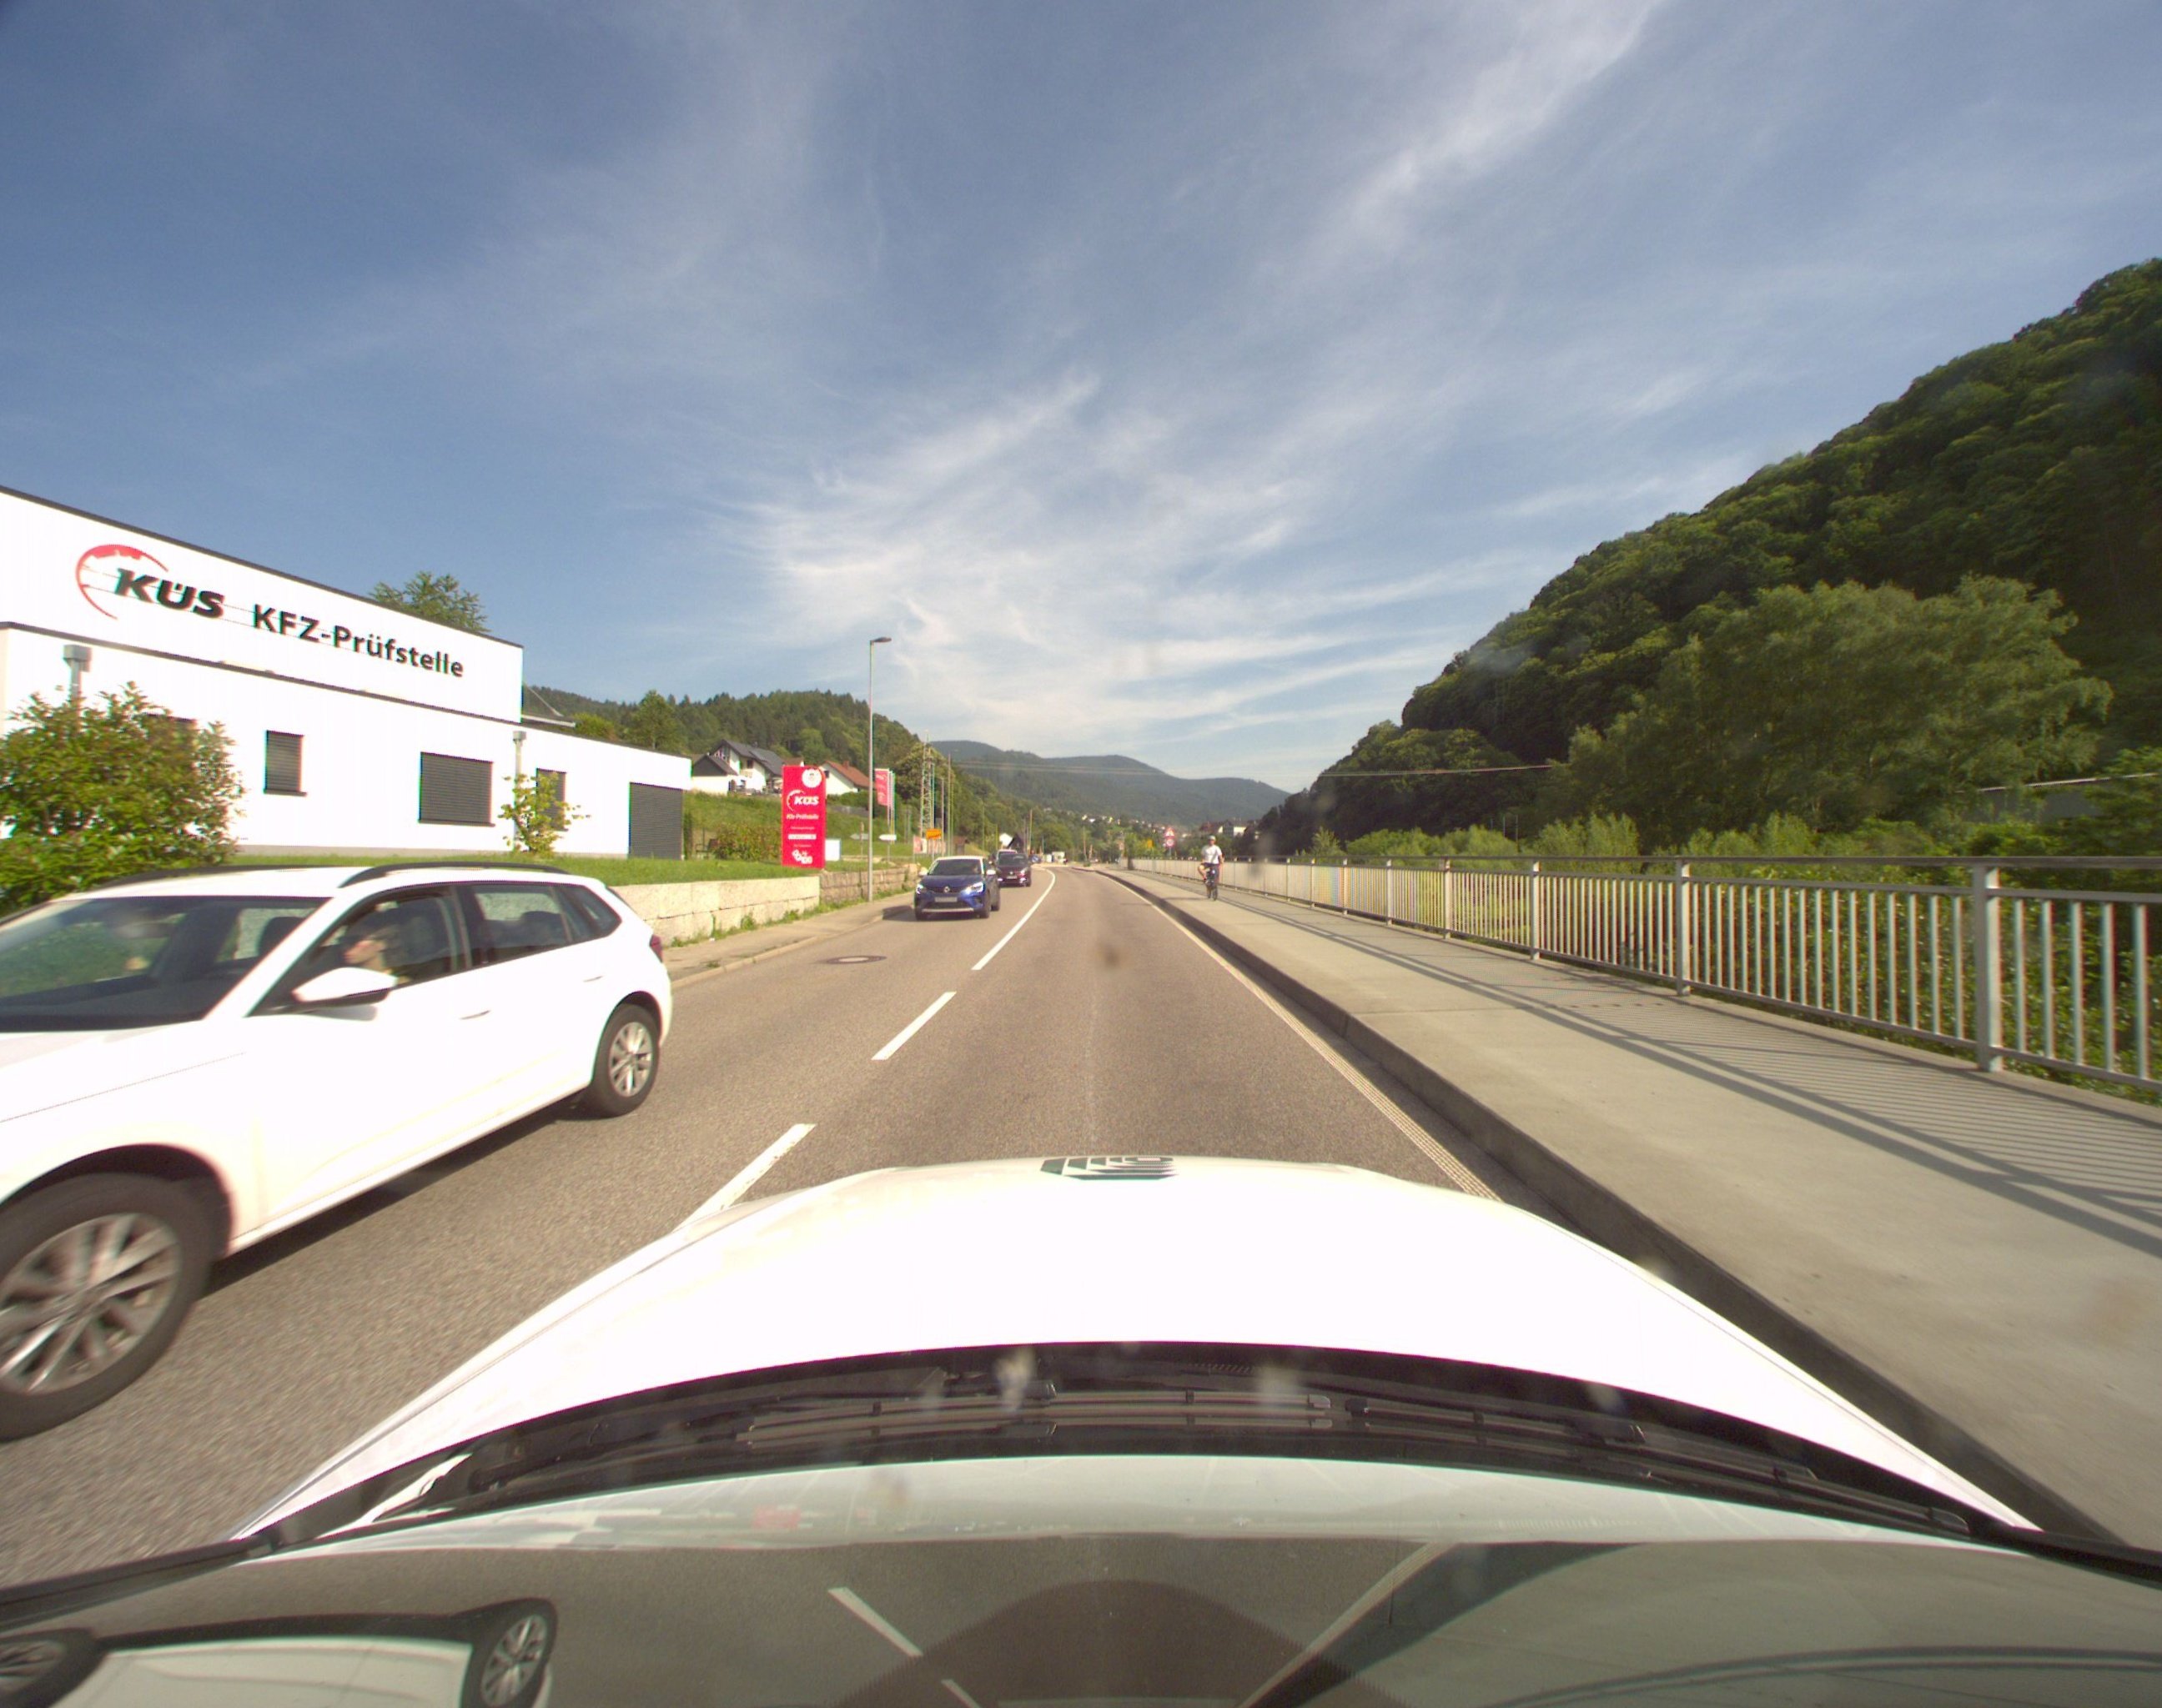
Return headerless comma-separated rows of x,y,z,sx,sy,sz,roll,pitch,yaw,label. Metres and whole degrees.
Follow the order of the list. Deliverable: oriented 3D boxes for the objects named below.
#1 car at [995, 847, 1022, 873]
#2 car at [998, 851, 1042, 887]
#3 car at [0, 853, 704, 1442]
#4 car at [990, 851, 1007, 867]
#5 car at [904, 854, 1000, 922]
-5.756,0.448,65.076,1.892,1.887,5.289,-1,0,-3,car
-2.982,0.702,40.485,1.791,1.618,4.462,-1,0,1,car
-3.592,0.765,3.628,1.742,1.504,4.192,-1,0,2,car
-8.784,0.525,86.850,1.703,1.584,4.151,1,0,-5,car
-3.176,0.786,20.785,1.738,1.526,4.000,-2,0,0,car
